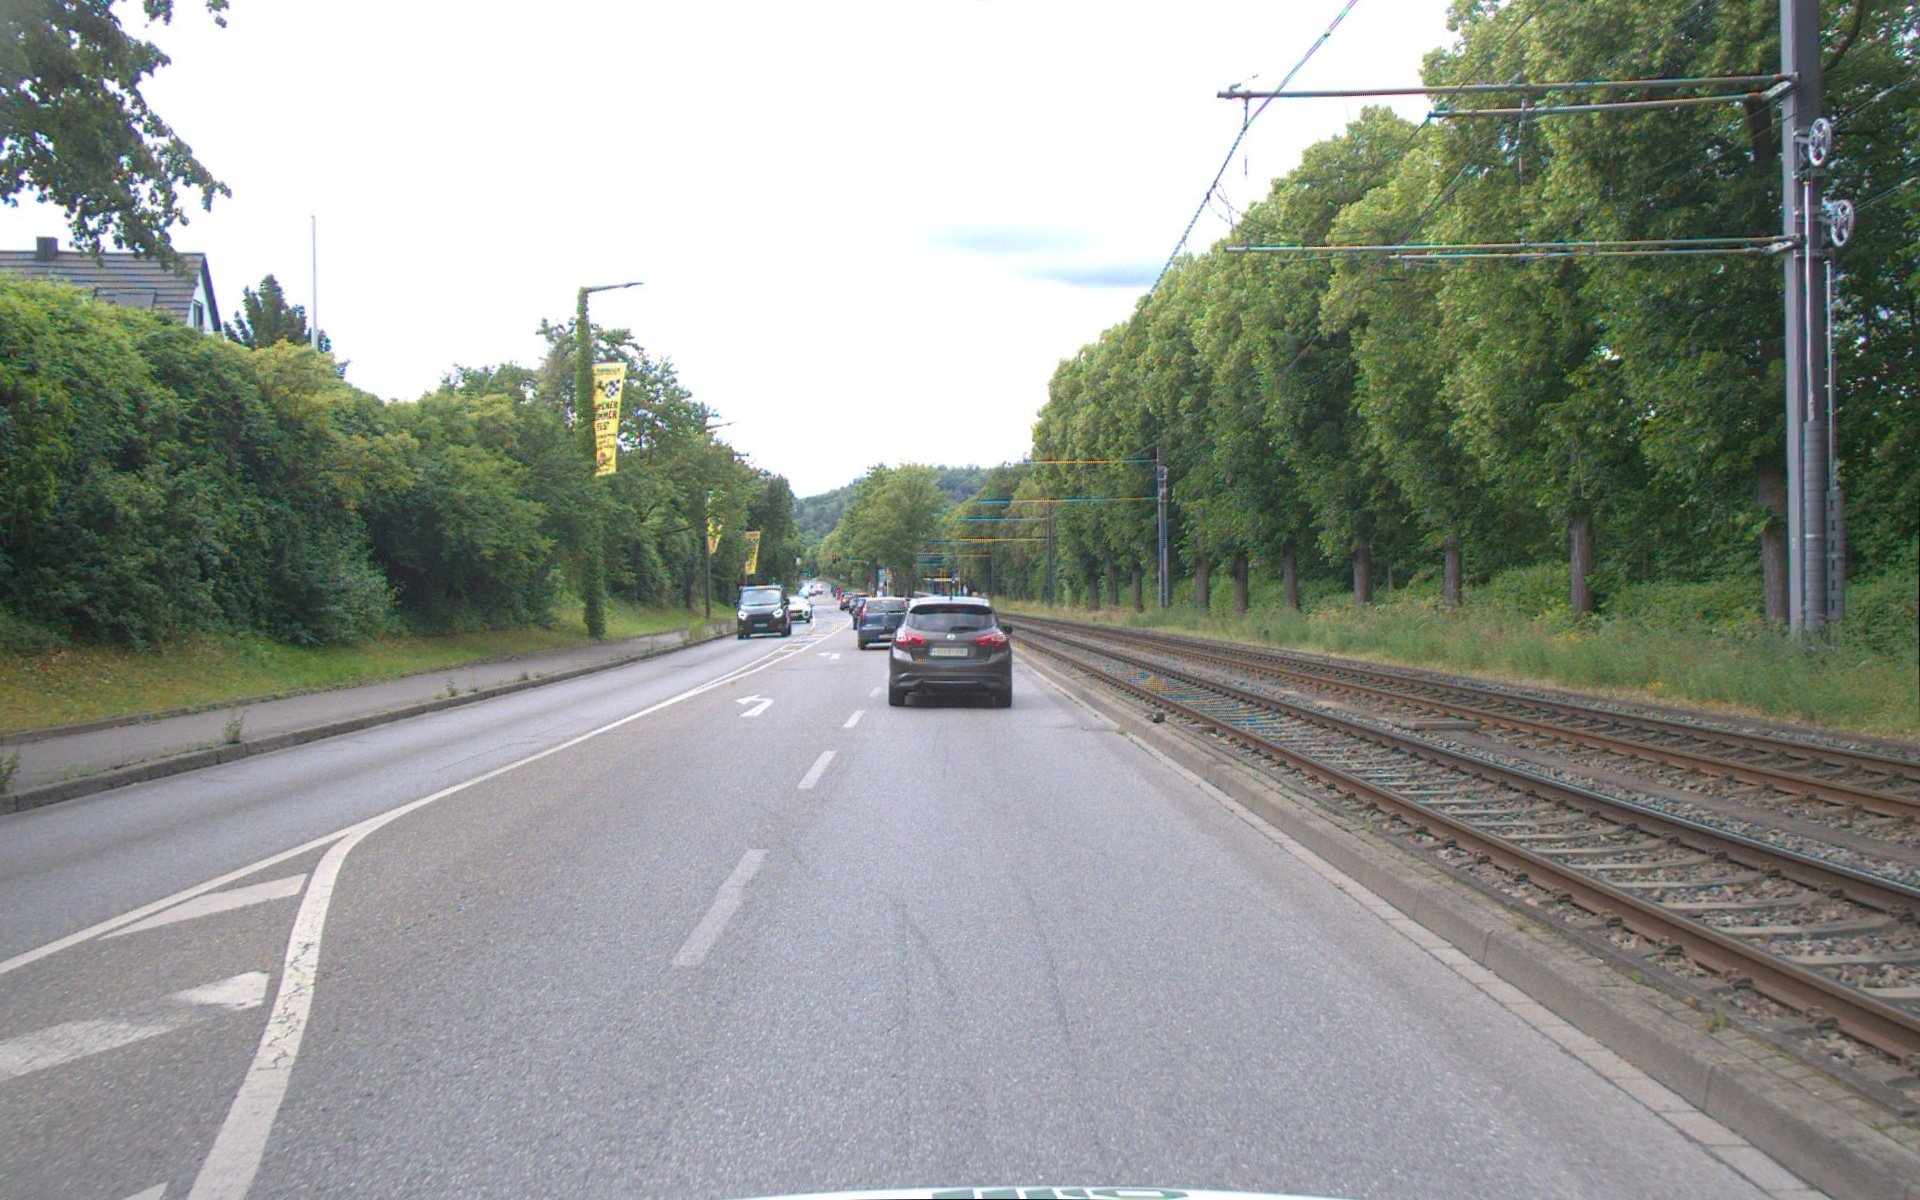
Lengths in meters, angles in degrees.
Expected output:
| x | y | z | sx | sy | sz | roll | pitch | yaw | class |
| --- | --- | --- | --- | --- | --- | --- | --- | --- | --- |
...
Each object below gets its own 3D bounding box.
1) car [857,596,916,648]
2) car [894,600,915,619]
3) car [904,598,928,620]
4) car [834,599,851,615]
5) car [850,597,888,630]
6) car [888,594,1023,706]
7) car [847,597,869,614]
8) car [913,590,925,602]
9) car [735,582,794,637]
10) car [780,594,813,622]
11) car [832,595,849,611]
| x | y | z | sx | sy | sz | roll | pitch | yaw | class |
| --- | --- | --- | --- | --- | --- | --- | --- | --- | --- |
| -2.153 | 0.625 | 49.079 | 1.665 | 1.469 | 3.998 | 0 | 0 | -2 | car |
| -4.467 | 0.779 | 133.735 | 1.681 | 1.577 | 3.998 | 0 | -1 | -2 | car |
| -3.163 | 0.657 | 118.303 | 1.681 | 1.577 | 3.998 | 0 | -1 | -2 | car |
| -12.725 | 0.715 | 179.307 | 1.665 | 1.744 | 3.999 | 0 | 0 | -1 | car |
| -4.209 | 0.606 | 76.827 | 1.665 | 1.469 | 3.998 | 0 | 0 | -2 | car |
| -0.080 | 0.681 | 24.406 | 1.813 | 1.519 | 3.999 | 0 | 0 | -1 | car |
| -9.260 | 0.531 | 150.816 | 1.757 | 1.537 | 3.999 | 0 | 0 | -1 | car |
| -6.133 | -0.556 | 245.735 | 1.681 | 1.692 | 3.704 | 0 | -1 | -4 | car |
| -7.878 | 0.376 | 66.956 | 1.954 | 2.072 | 5.113 | -2 | 0 | -3 | car |
| -10.138 | 0.473 | 102.653 | 1.805 | 1.648 | 4.157 | -2 | 0 | -3 | car |
| -13.590 | 0.357 | 188.865 | 1.665 | 1.744 | 3.999 | 0 | 0 | -1 | car |
